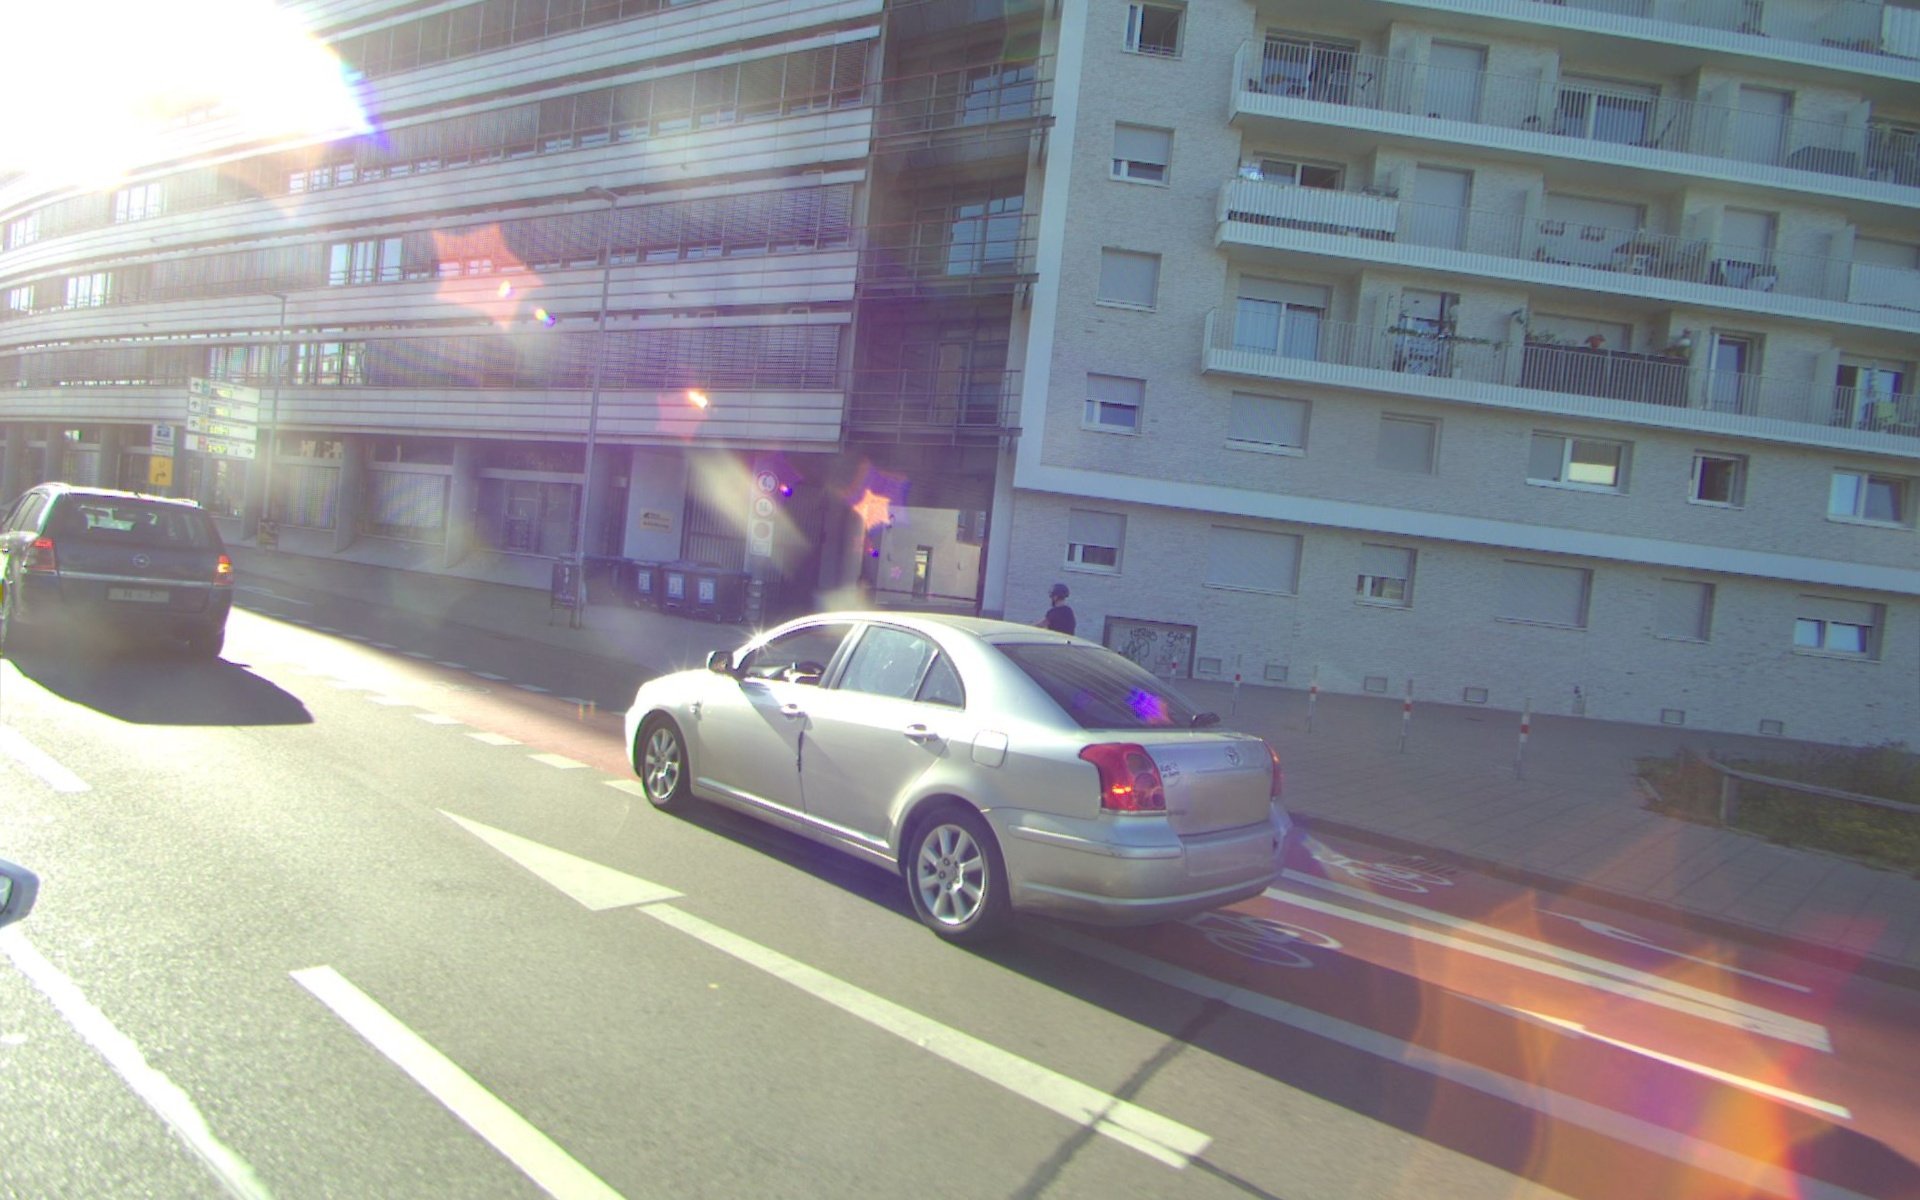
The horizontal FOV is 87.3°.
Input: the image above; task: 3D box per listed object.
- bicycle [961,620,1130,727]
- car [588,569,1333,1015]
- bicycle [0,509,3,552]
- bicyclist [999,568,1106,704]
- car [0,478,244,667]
[{"bbox_3d":[1.043,0.904,12.785,2.175,1.046,0.497,7,2,41],"label":"bicycle"},{"bbox_3d":[-0.342,0.757,6.067,4.429,1.449,1.746,7,2,44],"label":"car"},{"bbox_3d":[-23.602,-1.760,24.125,2.291,1.010,0.491,7,2,36],"label":"bicycle"},{"bbox_3d":[1.168,0.448,12.783,1.028,1.587,0.623,7,2,40],"label":"bicyclist"},{"bbox_3d":[-9.528,-0.393,10.975,4.398,1.650,1.685,7,1,40],"label":"car"}]
